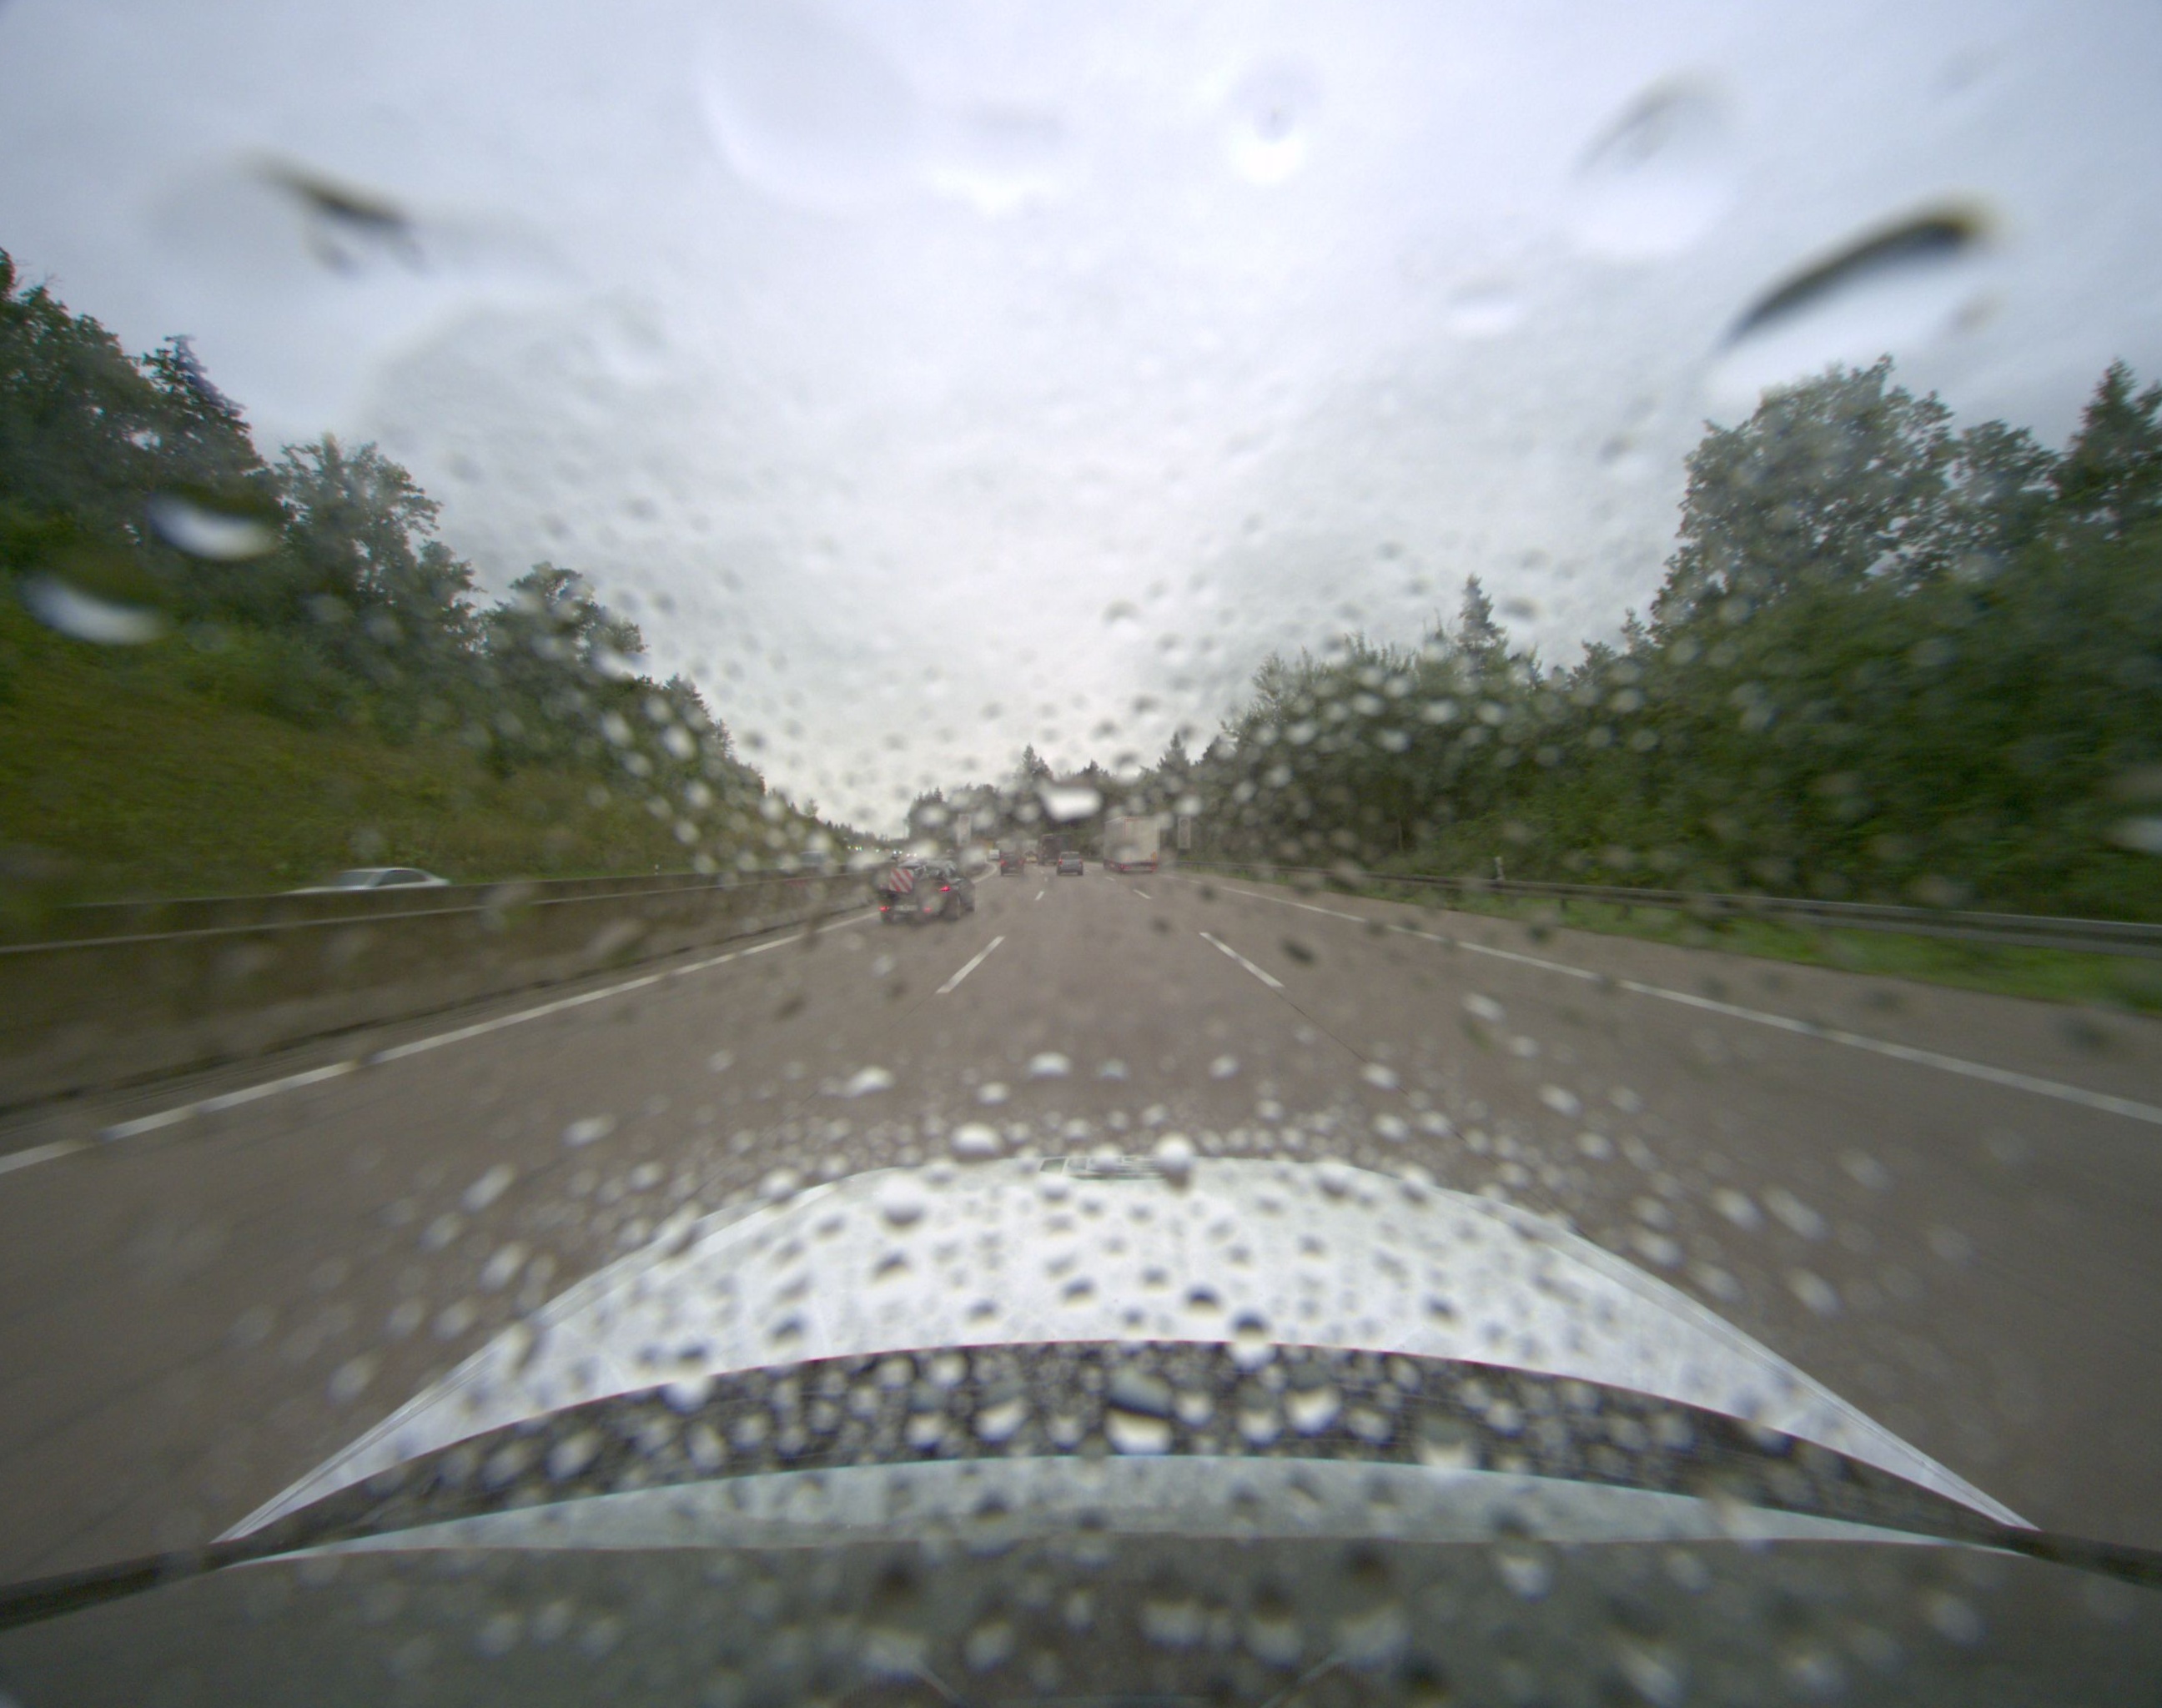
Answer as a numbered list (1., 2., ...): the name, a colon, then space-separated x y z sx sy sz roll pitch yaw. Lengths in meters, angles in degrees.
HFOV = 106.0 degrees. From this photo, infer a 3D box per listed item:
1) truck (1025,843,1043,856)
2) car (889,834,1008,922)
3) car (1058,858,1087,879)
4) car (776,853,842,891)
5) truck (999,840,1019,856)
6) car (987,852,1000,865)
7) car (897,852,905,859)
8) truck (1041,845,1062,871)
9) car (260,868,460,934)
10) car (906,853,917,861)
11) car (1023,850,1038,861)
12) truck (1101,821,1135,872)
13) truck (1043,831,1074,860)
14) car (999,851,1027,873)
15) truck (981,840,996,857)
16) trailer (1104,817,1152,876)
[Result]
1. truck: -8.746 -0.785 150.980 2.971 2.309 6.651 1 0 -7
2. car: -3.292 0.528 21.563 1.900 1.945 6.165 -1 0 2
3. car: -0.533 0.954 56.028 1.546 1.351 3.690 1 0 6
4. car: -13.651 0.864 41.139 1.725 1.776 4.757 -1 0 -1
5. truck: -13.199 -1.179 149.349 3.082 2.905 7.879 -1 1 -9
6. car: -13.651 0.706 127.276 1.722 2.014 3.652 -1 0 -4
7. car: -45.452 0.336 206.040 1.777 1.638 3.987 -1 0 -10
8. truck: -3.466 0.399 95.248 2.264 2.886 7.894 0 1 -3
9. car: -19.978 1.234 22.849 1.724 1.576 4.245 -1 0 1
10. car: -32.399 0.552 155.820 1.775 1.518 3.991 -1 0 -7
11. car: -6.881 0.218 110.786 1.876 1.473 3.998 1 0 -1
12. truck: 3.079 -0.633 69.050 2.414 4.068 4.972 -1 0 -3
13. truck: -3.336 -1.220 118.583 3.367 4.131 10.407 -1 0 -8
14. car: -4.742 0.533 57.011 1.679 1.462 3.681 1 0 -2
15. truck: -23.703 -1.428 207.775 3.737 4.210 6.801 -1 0 -7
16. trailer: 3.398 -0.573 62.138 2.414 4.068 12.043 -1 0 -2
